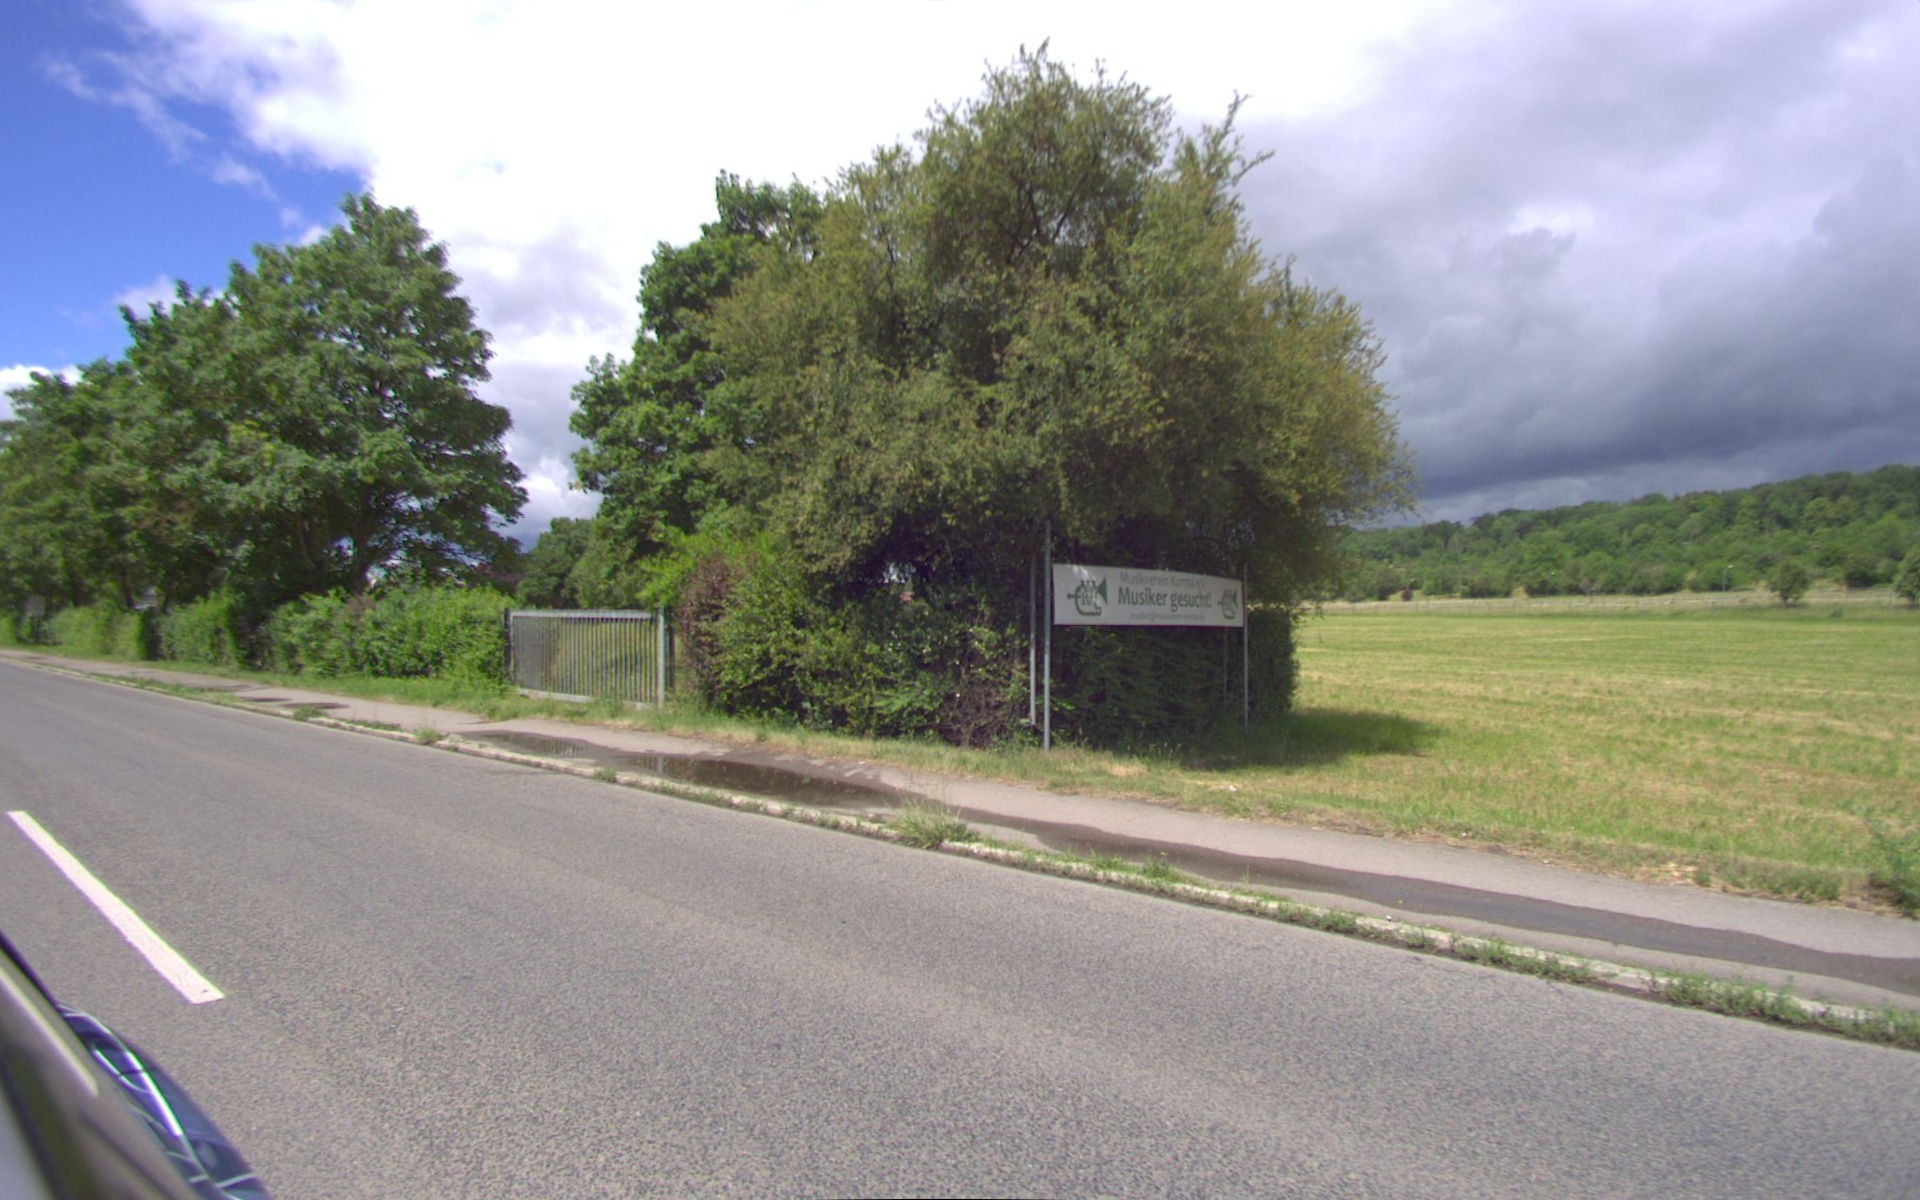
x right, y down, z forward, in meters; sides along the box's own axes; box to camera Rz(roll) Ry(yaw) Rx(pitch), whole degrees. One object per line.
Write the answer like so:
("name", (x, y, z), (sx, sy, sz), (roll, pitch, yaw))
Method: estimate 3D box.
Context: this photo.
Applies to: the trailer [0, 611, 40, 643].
("trailer", (-123.068, 3.380, 127.879), (3.301, 4.114, 9.385), (0, -2, 25))
